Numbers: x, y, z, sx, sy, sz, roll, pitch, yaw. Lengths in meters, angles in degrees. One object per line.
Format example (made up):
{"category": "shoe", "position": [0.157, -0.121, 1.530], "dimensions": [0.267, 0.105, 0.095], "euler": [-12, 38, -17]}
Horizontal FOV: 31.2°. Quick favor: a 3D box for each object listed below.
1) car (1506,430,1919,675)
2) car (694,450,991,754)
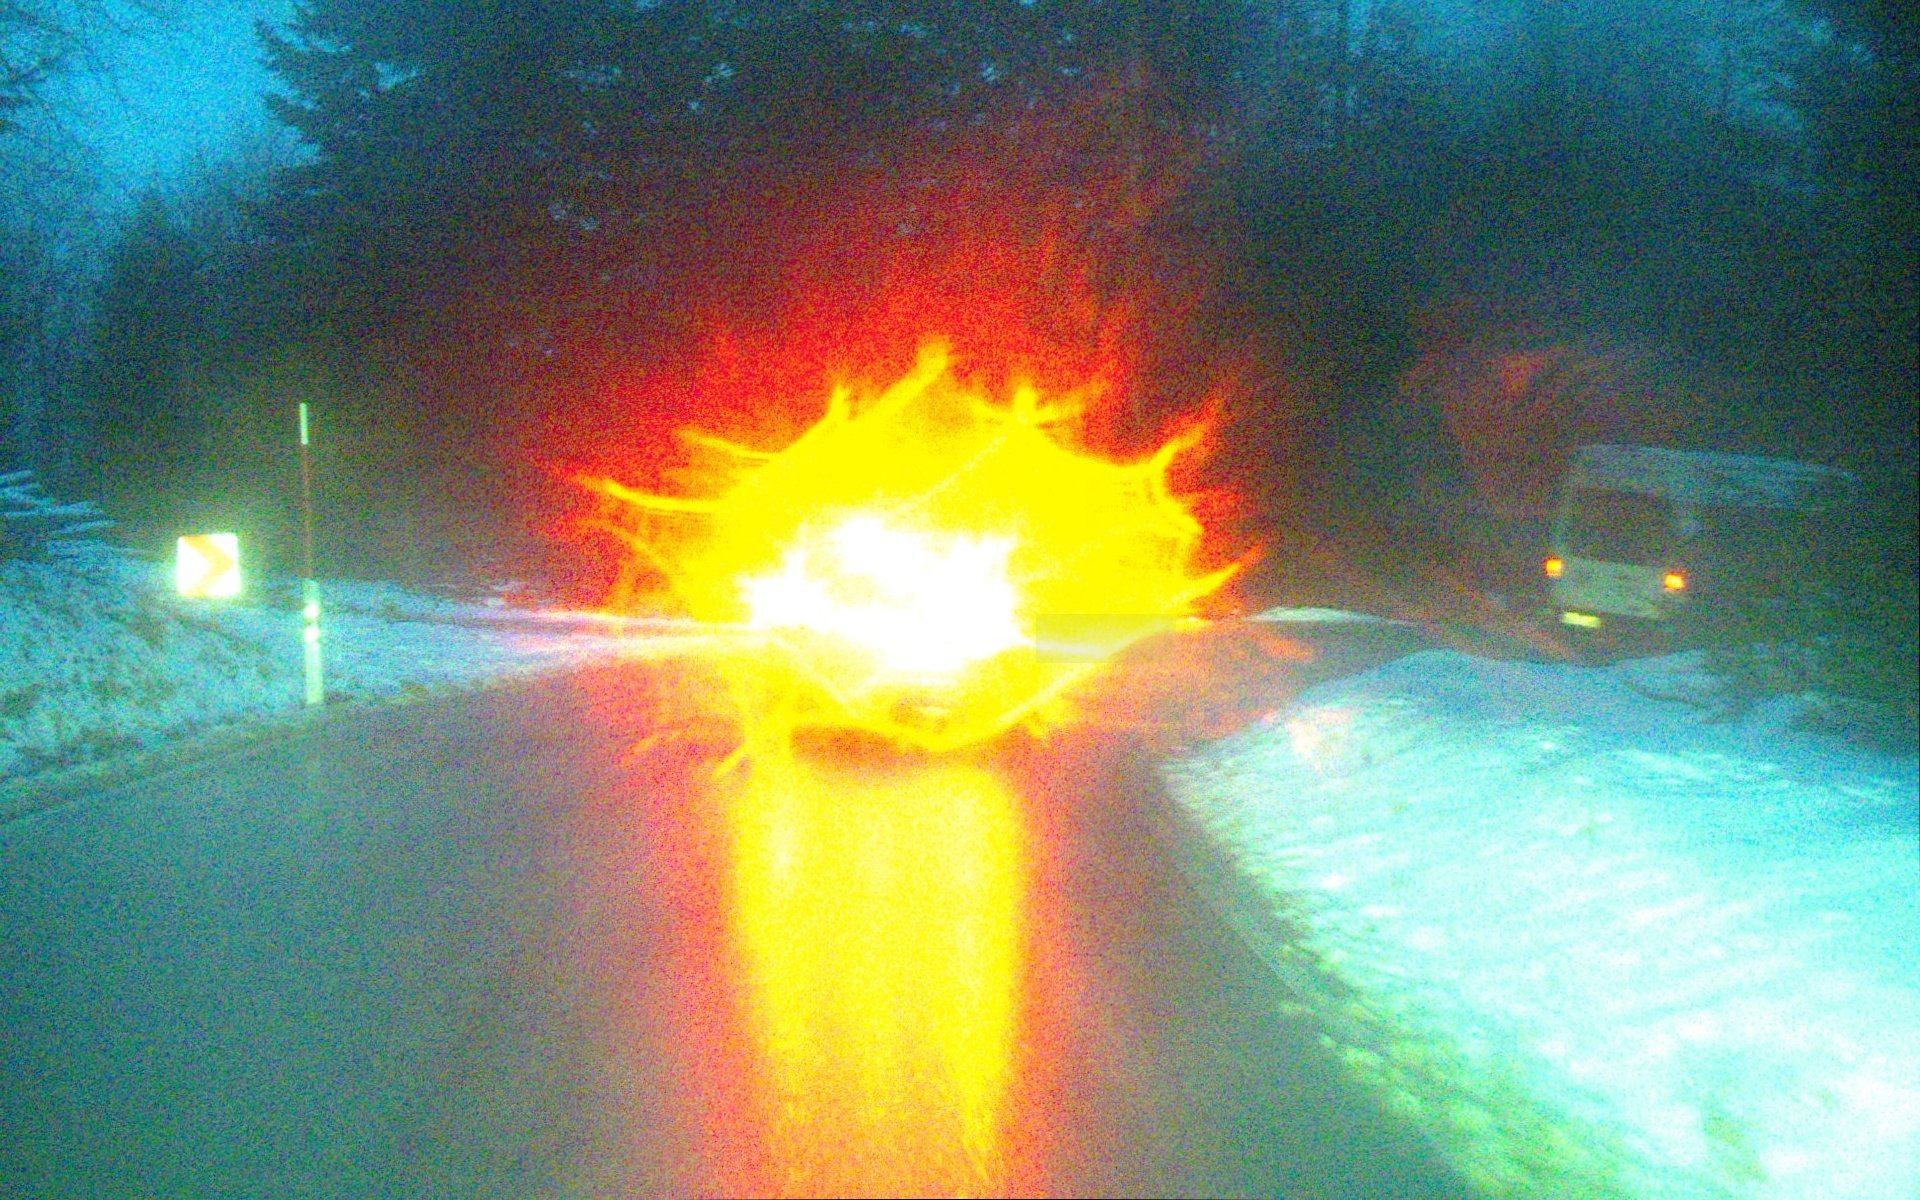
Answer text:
{"category": "car", "position": [9.118, -0.578, 41.232], "dimensions": [4.992, 2.636, 2.259], "euler": [0, 5, -42]}
{"category": "car", "position": [-0.820, -0.014, 25.377], "dimensions": [1.993, 2.045, 4.000], "euler": [-1, 1, -1]}
